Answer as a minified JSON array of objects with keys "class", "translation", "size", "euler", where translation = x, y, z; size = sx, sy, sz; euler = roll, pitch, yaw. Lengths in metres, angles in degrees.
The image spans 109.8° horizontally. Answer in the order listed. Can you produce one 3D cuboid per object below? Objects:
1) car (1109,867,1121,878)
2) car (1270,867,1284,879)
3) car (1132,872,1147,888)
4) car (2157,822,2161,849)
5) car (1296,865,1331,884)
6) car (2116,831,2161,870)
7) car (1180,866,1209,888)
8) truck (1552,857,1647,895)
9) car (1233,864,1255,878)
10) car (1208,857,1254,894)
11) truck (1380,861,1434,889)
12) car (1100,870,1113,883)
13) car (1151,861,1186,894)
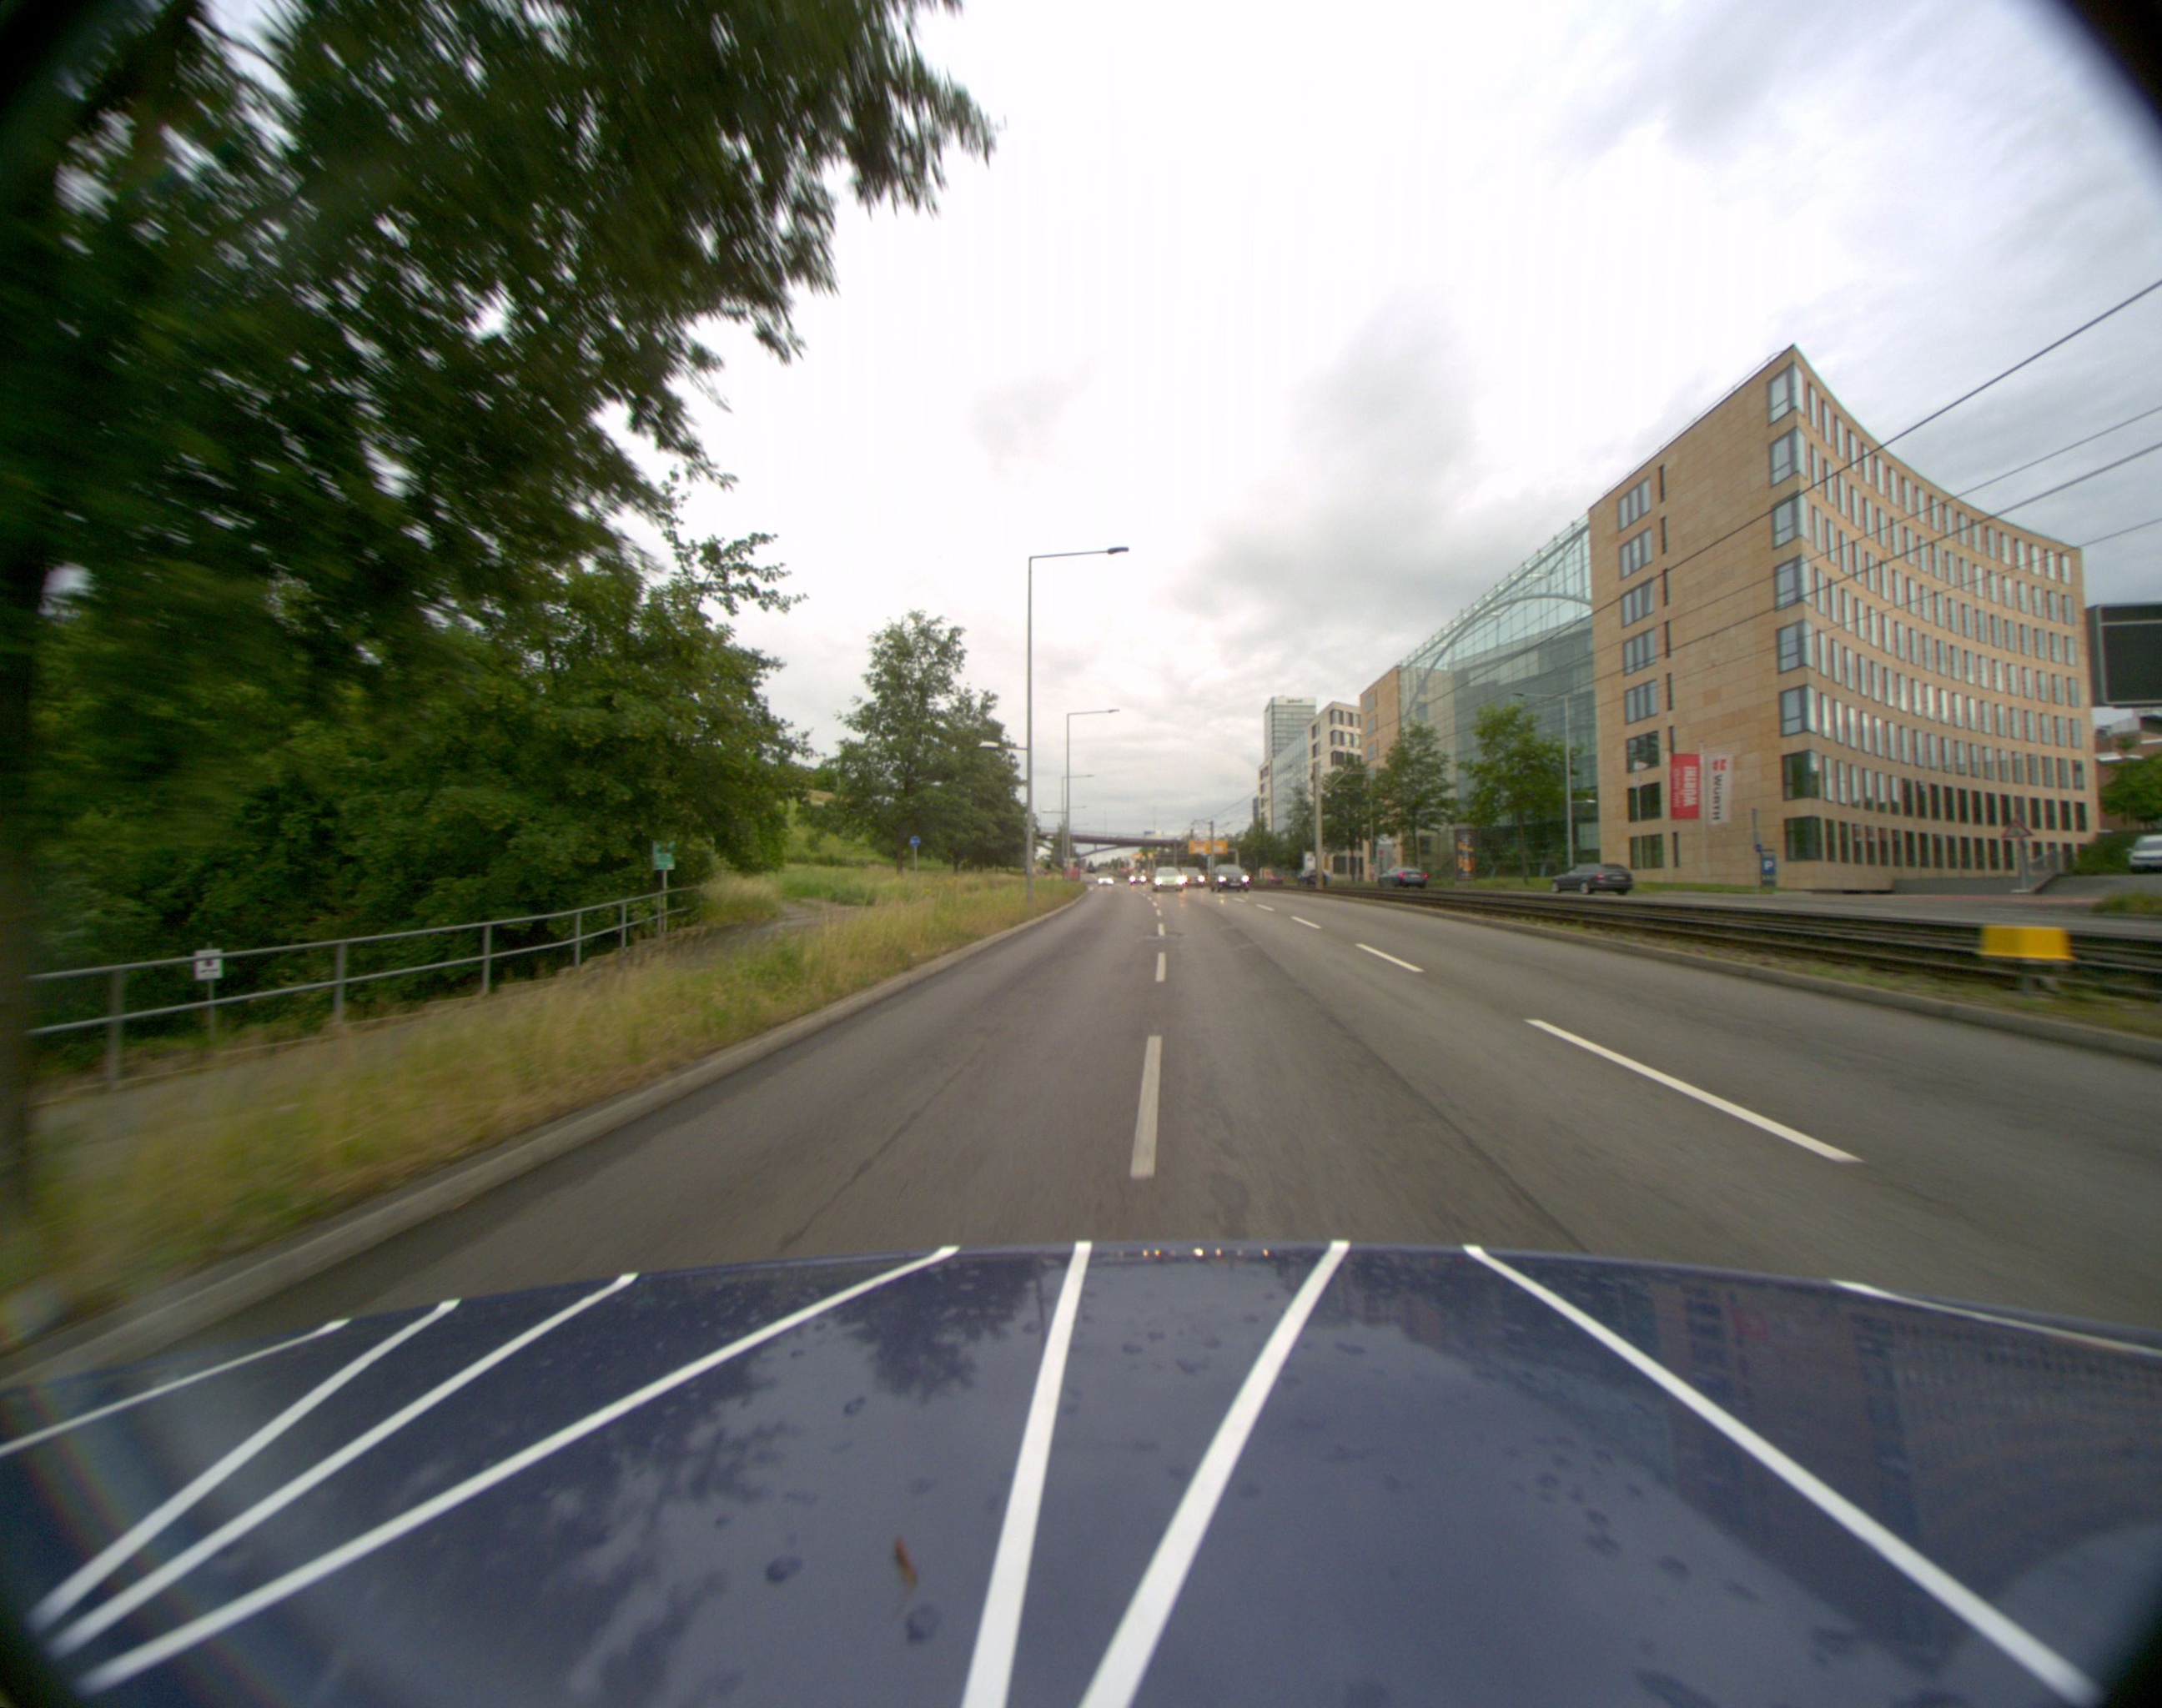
[{"class":"car","translation":[5.468,2.953,121.009],"size":[1.793,1.621,4.378],"euler":[-2,0,4]},{"class":"car","translation":[28.006,2.705,108.566],"size":[1.670,1.453,4.243],"euler":[-2,0,17]},{"class":"car","translation":[7.739,3.388,100.248],"size":[1.794,1.857,4.378],"euler":[-2,0,3]},{"class":"car","translation":[72.162,-1.176,48.406],"size":[1.886,1.753,3.989],"euler":[-2,3,-31]},{"class":"car","translation":[19.714,1.698,64.598],"size":[1.671,1.453,4.238],"euler":[1,0,1]},{"class":"car","translation":[55.819,-0.206,39.552],"size":[4.006,1.884,1.878],"euler":[-2,3,-31]},{"class":"car","translation":[8.867,1.789,59.802],"size":[1.794,1.535,4.378],"euler":[-2,0,3]},{"class":"truck","translation":[24.126,0.963,35.569],"size":[1.945,1.559,4.547],"euler":[1,1,10]},{"class":"car","translation":[20.845,2.165,97.380],"size":[1.810,1.607,4.385],"euler":[-2,0,0]},{"class":"car","translation":[8.272,1.160,42.287],"size":[1.794,1.857,4.378],"euler":[-2,0,3]},{"class":"truck","translation":[20.440,1.273,47.819],"size":[1.945,1.559,4.595],"euler":[1,1,7]},{"class":"car","translation":[3.520,3.089,104.276],"size":[1.794,1.621,4.378],"euler":[-2,0,3]},{"class":"car","translation":[5.443,1.422,47.719],"size":[1.794,1.857,4.378],"euler":[-2,0,3]}]
